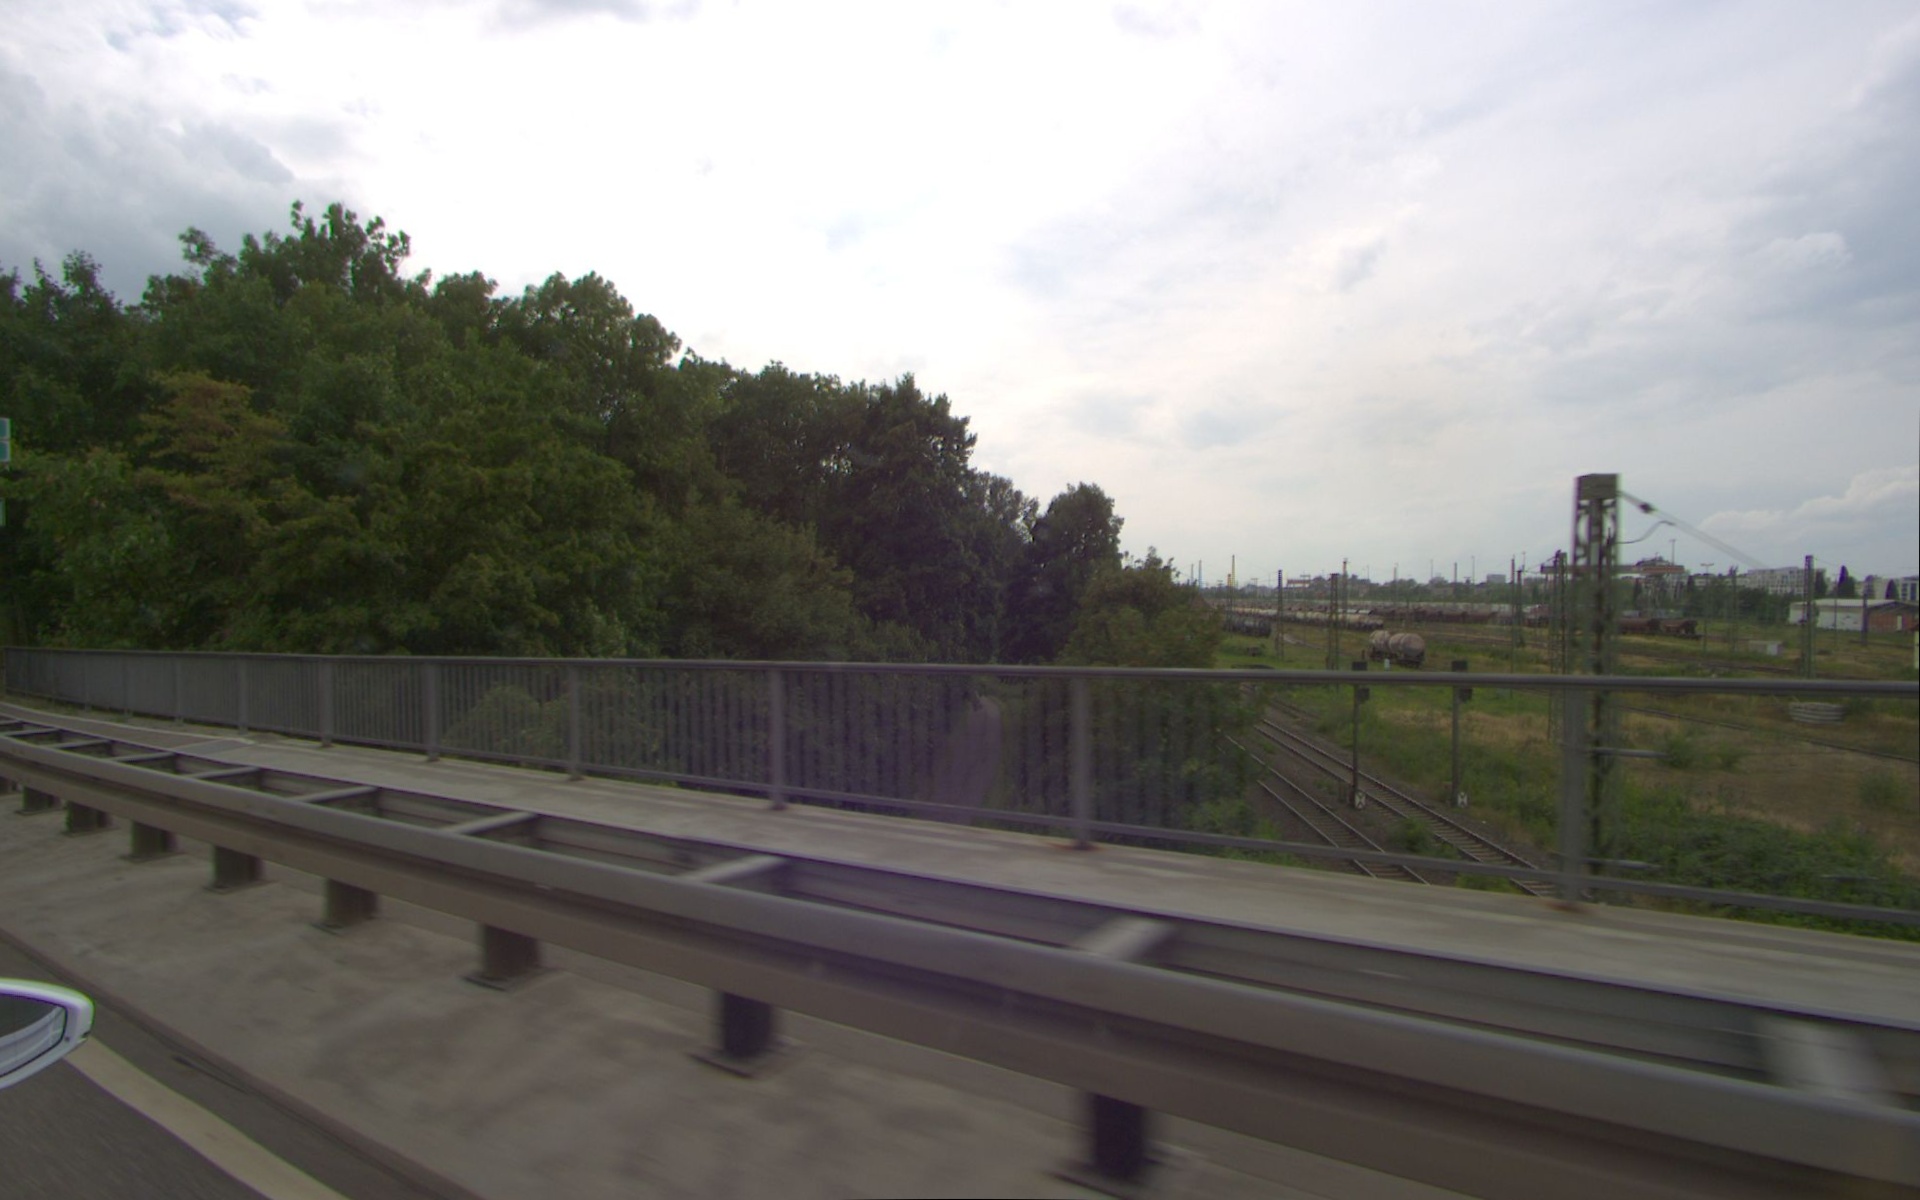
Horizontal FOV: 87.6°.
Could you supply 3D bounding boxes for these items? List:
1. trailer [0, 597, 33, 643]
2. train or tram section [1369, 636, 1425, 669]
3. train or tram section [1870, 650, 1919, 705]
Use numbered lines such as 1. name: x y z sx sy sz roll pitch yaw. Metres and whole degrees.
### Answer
1. trailer: -87.660 1.780 89.667 2.499 4.200 10.752 0 -2 -18
2. train or tram section: 58.488 6.912 134.408 3.189 4.221 11.390 0 -2 3
3. train or tram section: 101.086 7.949 98.057 3.916 5.550 25.696 0 -2 8
